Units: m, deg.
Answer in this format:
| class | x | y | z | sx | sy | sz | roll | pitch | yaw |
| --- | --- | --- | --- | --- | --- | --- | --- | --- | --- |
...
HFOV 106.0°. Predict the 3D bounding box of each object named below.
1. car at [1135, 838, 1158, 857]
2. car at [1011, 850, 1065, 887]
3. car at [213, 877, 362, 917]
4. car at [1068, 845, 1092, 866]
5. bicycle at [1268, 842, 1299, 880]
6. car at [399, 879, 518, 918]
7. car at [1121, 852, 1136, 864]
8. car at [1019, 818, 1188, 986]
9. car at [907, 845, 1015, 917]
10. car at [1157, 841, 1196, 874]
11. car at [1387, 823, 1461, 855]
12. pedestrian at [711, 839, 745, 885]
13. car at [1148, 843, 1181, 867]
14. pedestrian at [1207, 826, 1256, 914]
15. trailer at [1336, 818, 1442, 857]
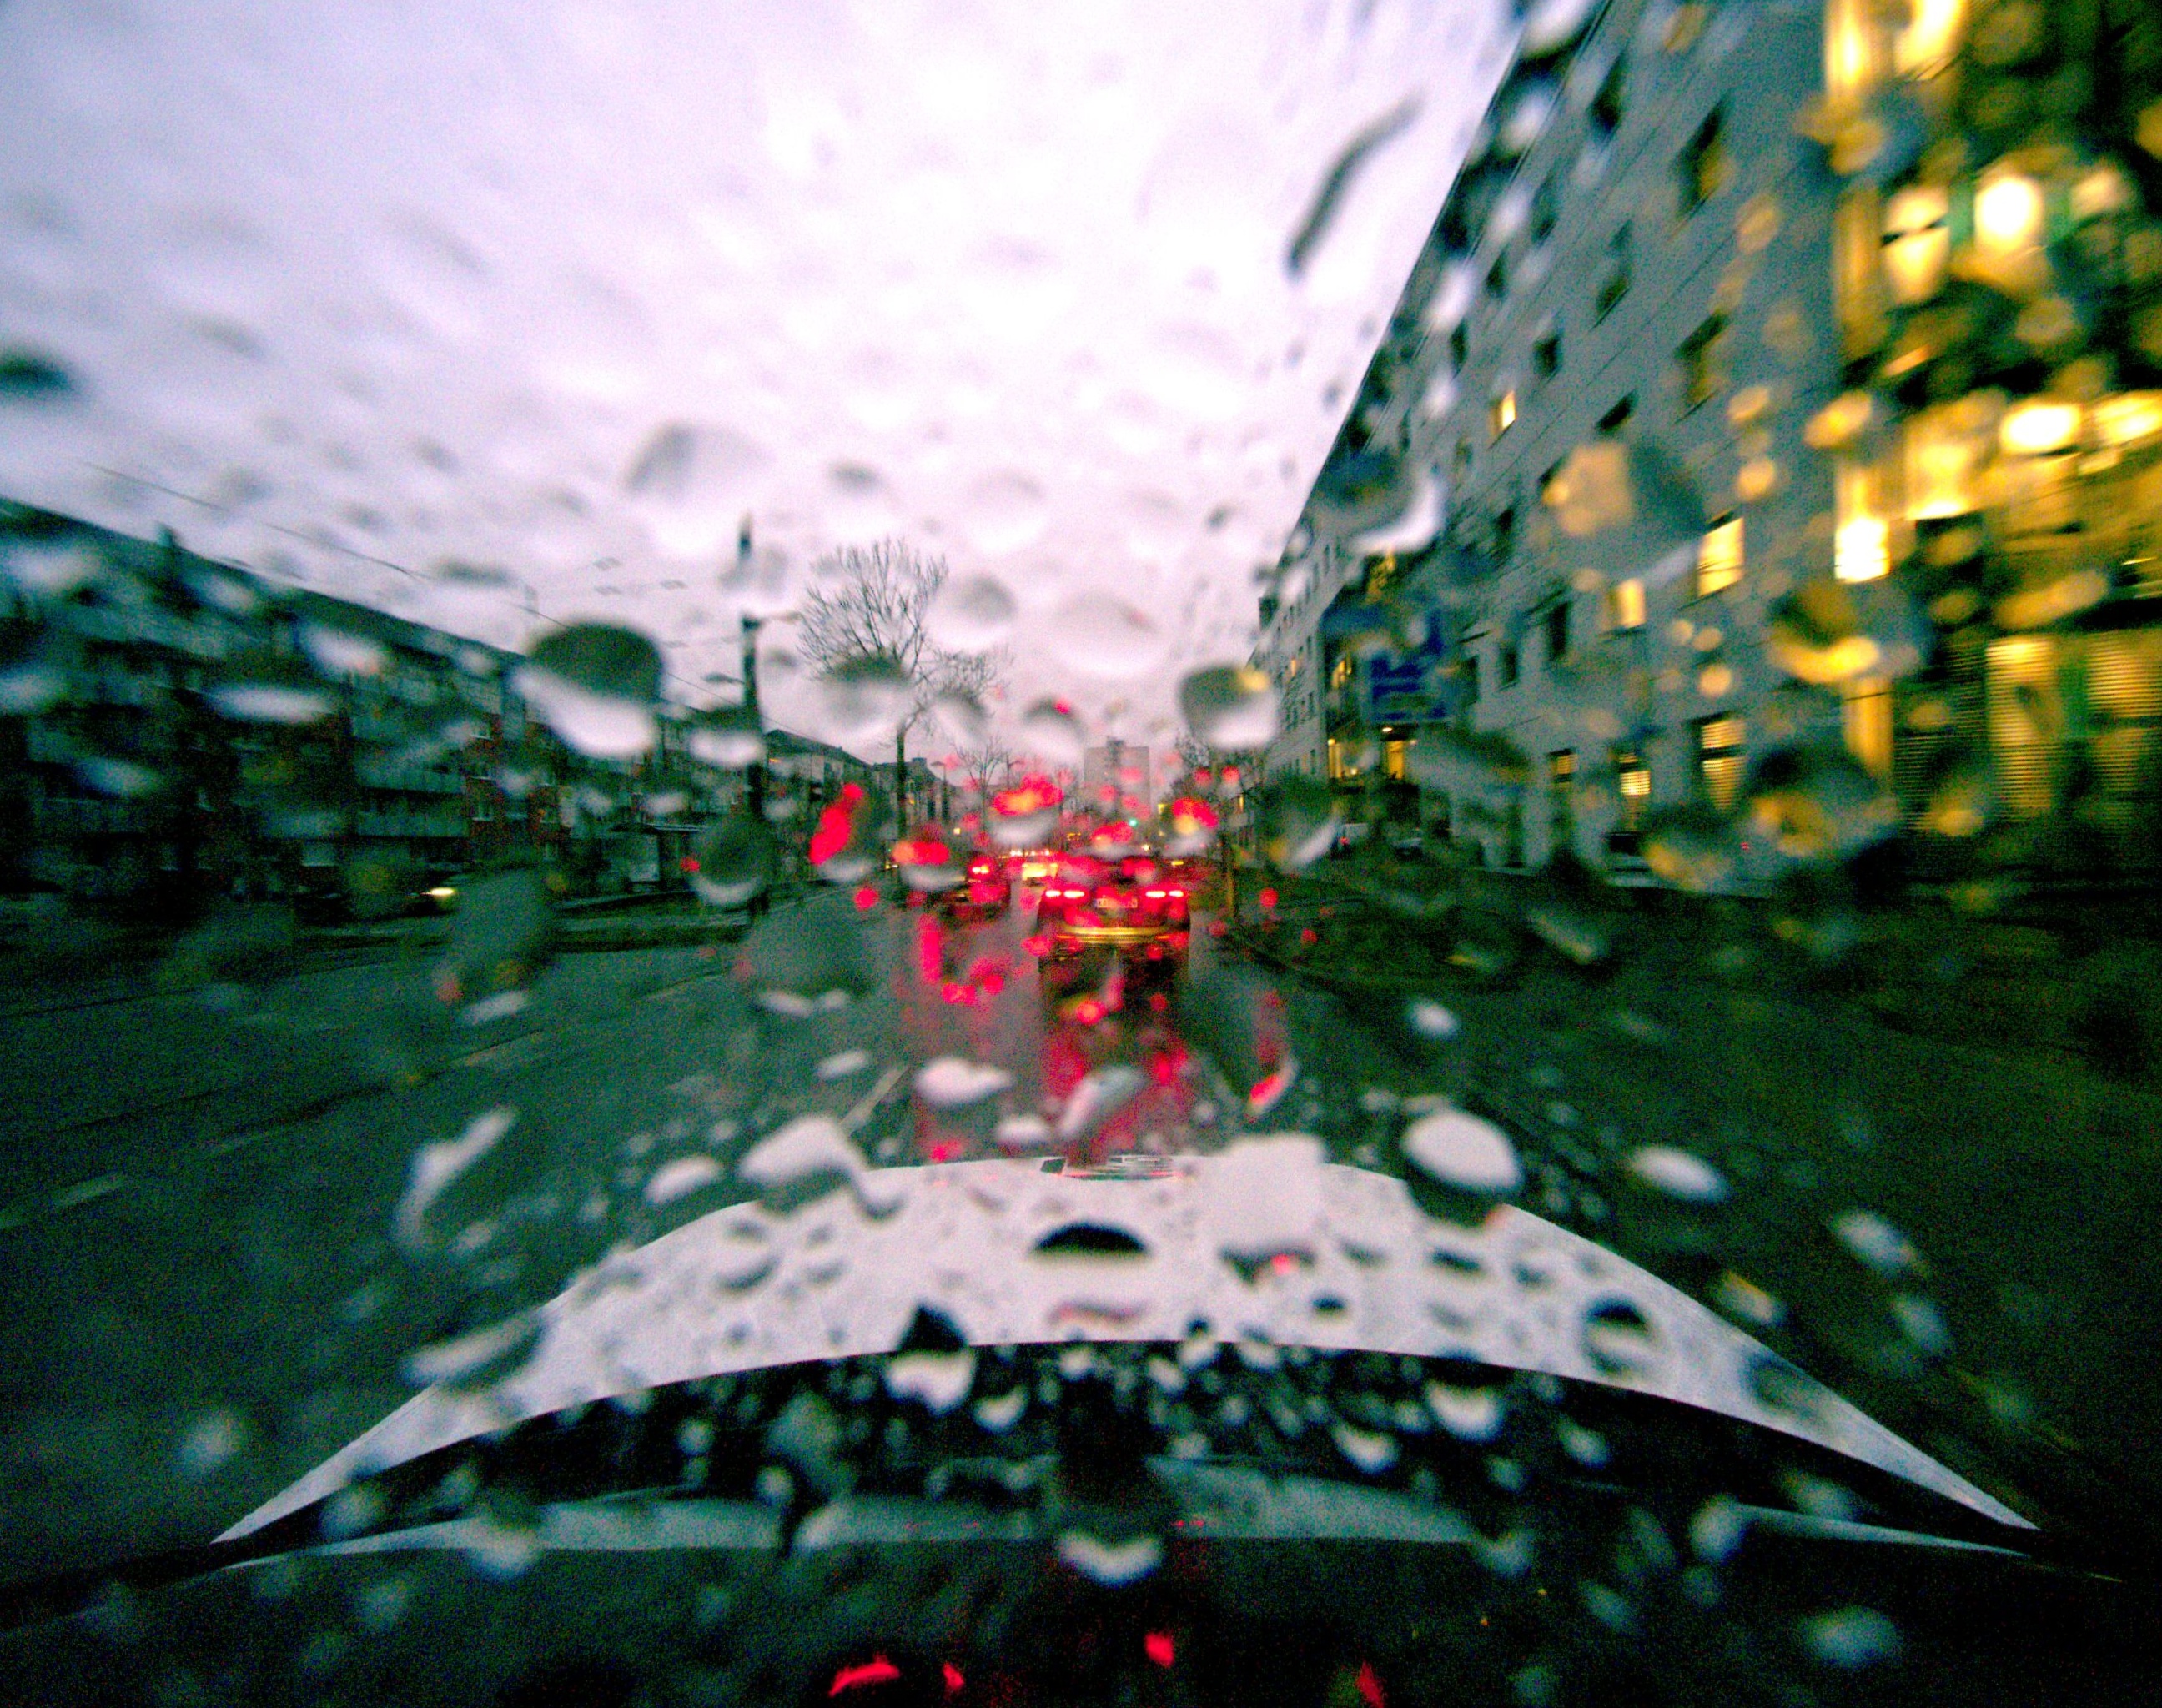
| class | x | y | z | sx | sy | sz | roll | pitch | yaw |
| --- | --- | --- | --- | --- | --- | --- | --- | --- | --- |
| car | 6.073 | -0.554 | 75.280 | 1.984 | 1.691 | 3.534 | 0 | -1 | 6 |
| car | -1.939 | 0.655 | 37.970 | 1.984 | 1.642 | 4.027 | 0 | -1 | 4 |
| car | -30.613 | 1.638 | 31.510 | 3.975 | 1.416 | 1.711 | 0 | -1 | -1 |
| car | -0.075 | 0.103 | 58.349 | 1.590 | 1.442 | 3.207 | 0 | -1 | 2 |
| bicycle | 6.458 | 0.223 | 26.035 | 0.548 | 1.115 | 2.168 | -3 | -1 | 4 |
| car | -24.776 | 1.745 | 32.622 | 1.509 | 1.368 | 4.004 | 0 | -1 | 3 |
| car | 6.470 | 0.564 | 109.812 | 1.761 | 1.502 | 3.375 | 0 | -1 | 7 |
| car | 0.328 | 0.581 | 11.641 | 1.986 | 1.976 | 4.070 | 0 | -1 | 2 |
| car | -3.039 | 0.664 | 21.538 | 1.985 | 1.712 | 4.328 | 0 | -1 | 3 |
| car | 4.424 | 0.157 | 38.164 | 1.589 | 1.440 | 4.233 | 0 | -1 | 4 |
| car | 15.669 | -0.653 | 37.470 | 1.625 | 1.371 | 4.532 | 0 | 0 | 2 |
| pedestrian | -15.489 | 0.346 | 35.733 | 1.146 | 2.014 | 0.951 | 0 | -1 | -38 |
| car | 5.081 | 0.019 | 49.970 | 1.747 | 1.403 | 4.253 | -1 | 1 | 3 |
| pedestrian | 3.262 | 0.341 | 17.660 | 0.768 | 1.808 | 0.699 | -6 | -1 | 1 |
| trailer | 16.527 | -0.896 | 43.959 | 5.037 | 1.911 | 2.136 | -1 | 2 | 9 |
